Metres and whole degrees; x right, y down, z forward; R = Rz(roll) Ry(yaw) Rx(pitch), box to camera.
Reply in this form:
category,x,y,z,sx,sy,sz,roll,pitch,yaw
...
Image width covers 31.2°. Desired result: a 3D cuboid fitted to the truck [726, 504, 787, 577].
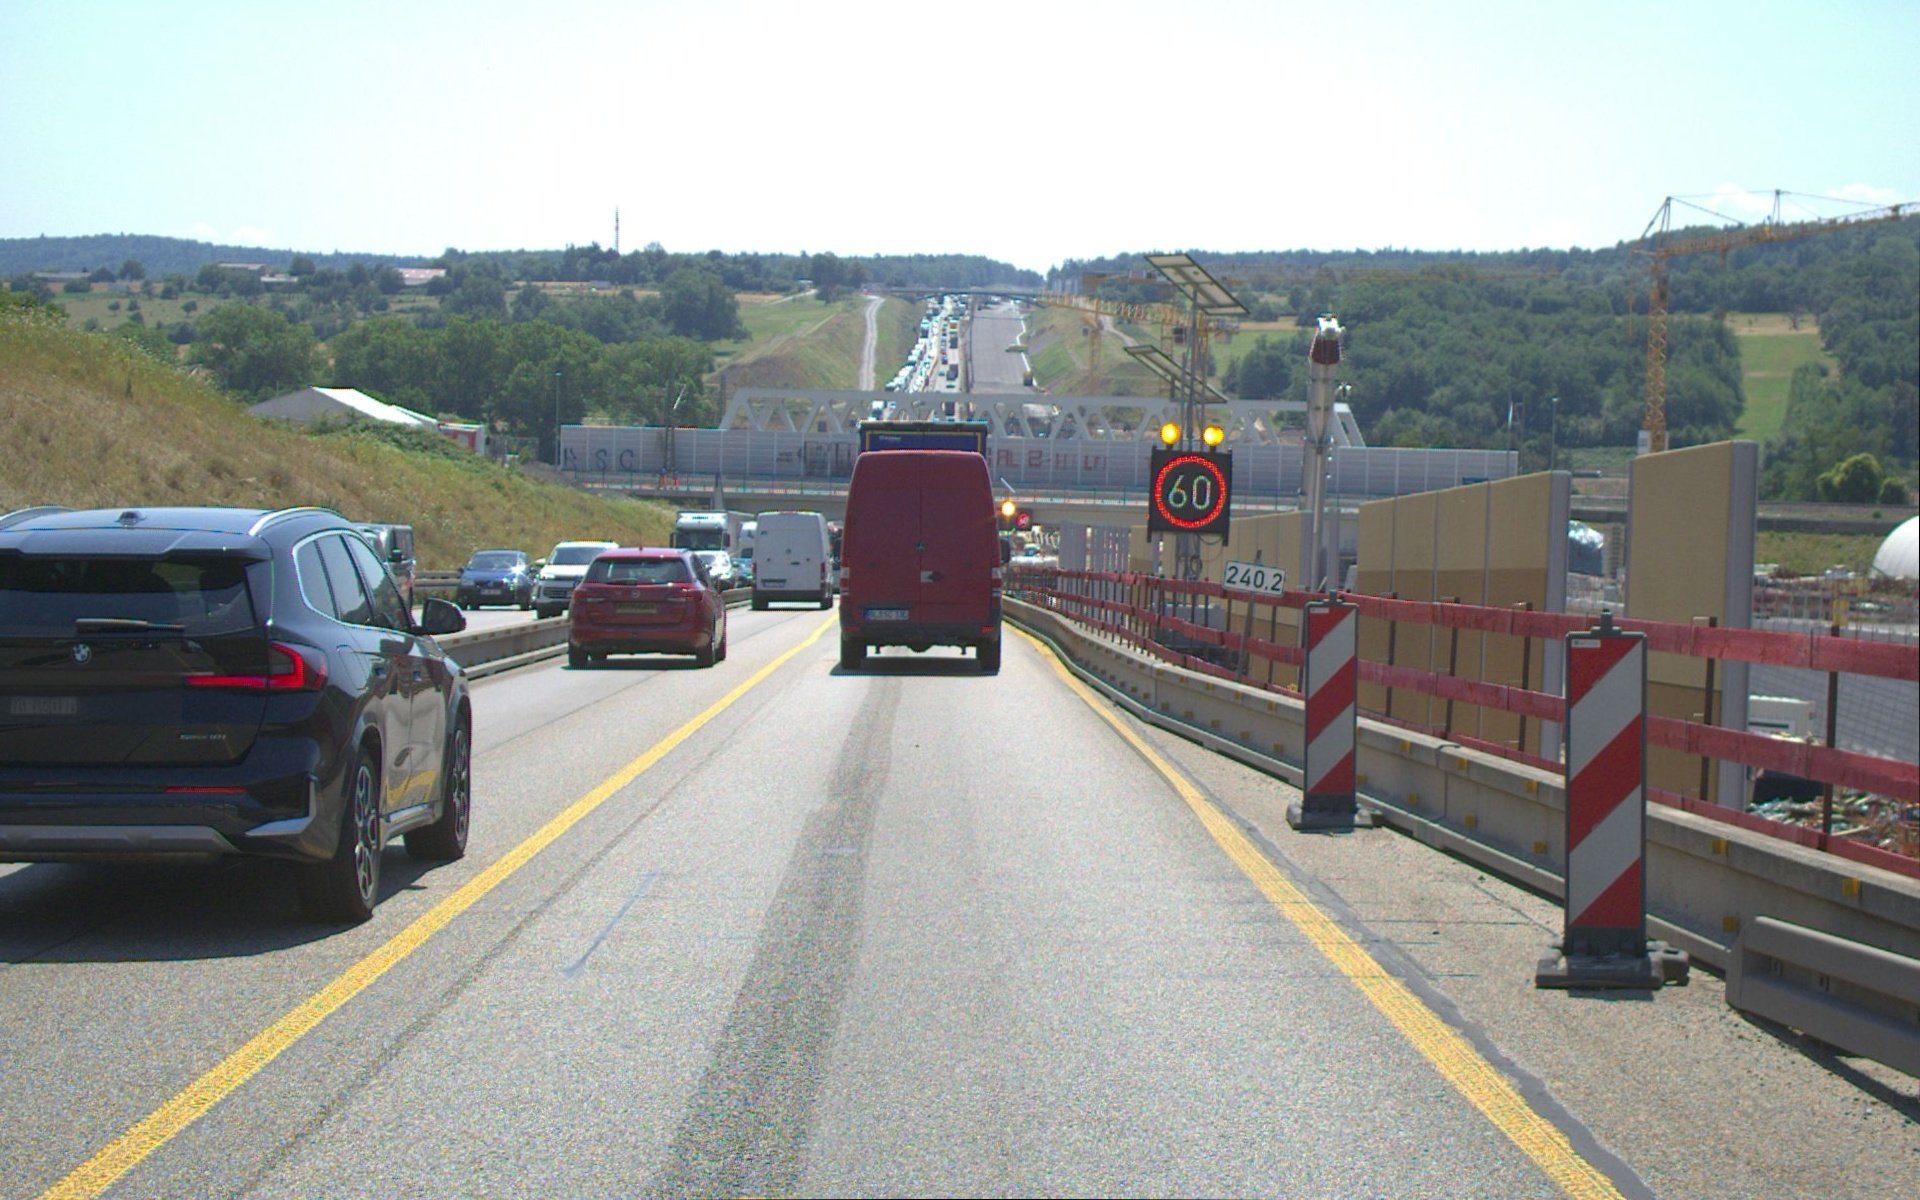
category,x,y,z,sx,sy,sz,roll,pitch,yaw
truck,-9.591,-2.808,162.929,2.538,3.362,7.038,1,1,-1

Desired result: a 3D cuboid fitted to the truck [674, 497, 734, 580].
category,x,y,z,sx,sy,sz,roll,pitch,yaw
truck,-12.685,-3.064,170.840,2.698,4.036,3.955,1,1,-1

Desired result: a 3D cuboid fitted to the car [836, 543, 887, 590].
category,x,y,z,sx,sy,sz,roll,pitch,yaw
car,-3.570,-1.216,124.639,1.776,1.664,4.029,0,1,-1

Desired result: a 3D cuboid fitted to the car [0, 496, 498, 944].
category,x,y,z,sx,sy,sz,roll,pitch,yaw
car,-3.184,0.398,14.624,1.879,1.612,4.499,0,1,-1

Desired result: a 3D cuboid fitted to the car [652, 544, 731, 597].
category,x,y,z,sx,sy,sz,roll,pitch,yaw
car,-7.856,-0.876,100.963,1.955,1.494,5.090,1,1,-1

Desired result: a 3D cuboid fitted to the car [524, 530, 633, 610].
category,x,y,z,sx,sy,sz,roll,pitch,yaw
car,-8.117,-0.675,73.547,1.839,1.648,5.372,0,1,-1

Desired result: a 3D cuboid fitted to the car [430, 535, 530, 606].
category,x,y,z,sx,sy,sz,roll,pitch,yaw
car,-11.312,-0.712,81.323,1.684,1.580,5.127,1,1,-1

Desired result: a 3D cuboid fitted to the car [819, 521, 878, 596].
category,x,y,z,sx,sy,sz,roll,pitch,yaw
car,-3.535,-1.328,109.259,1.776,2.322,4.206,0,1,-1

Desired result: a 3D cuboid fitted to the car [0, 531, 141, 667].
category,x,y,z,sx,sy,sz,roll,pitch,yaw
car,-11.147,-0.052,40.337,1.993,1.502,4.719,1,1,-1

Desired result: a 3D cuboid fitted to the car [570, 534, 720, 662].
category,x,y,z,sx,sy,sz,roll,pitch,yaw
car,-3.916,-0.054,42.960,1.775,1.512,4.207,0,1,-5

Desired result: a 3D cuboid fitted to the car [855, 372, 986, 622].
category,x,y,z,sx,sy,sz,roll,pitch,yaw
car,-0.862,-2.148,74.162,2.621,5.015,10.397,0,1,-1

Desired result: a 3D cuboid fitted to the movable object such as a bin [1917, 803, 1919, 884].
category,x,y,z,sx,sy,sz,roll,pitch,yaw
movable object such as a bin,19.463,4.190,62.744,2.608,2.481,4.454,2,1,-1

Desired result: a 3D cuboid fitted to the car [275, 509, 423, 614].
category,x,y,z,sx,sy,sz,roll,pitch,yaw
car,-11.613,-0.757,65.657,2.038,1.919,5.122,0,1,-1

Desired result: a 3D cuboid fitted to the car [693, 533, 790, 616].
category,x,y,z,sx,sy,sz,roll,pitch,yaw
car,-4.489,-0.551,71.171,1.839,1.648,4.165,0,1,-1

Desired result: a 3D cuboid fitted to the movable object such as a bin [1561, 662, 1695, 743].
category,x,y,z,sx,sy,sz,roll,pitch,yaw
movable object such as a bin,23.774,3.604,122.769,3.163,2.437,7.895,3,0,0

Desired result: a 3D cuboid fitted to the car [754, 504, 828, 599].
category,x,y,z,sx,sy,sz,roll,pitch,yaw
car,-4.406,-1.267,90.005,1.776,2.433,4.206,0,1,-1

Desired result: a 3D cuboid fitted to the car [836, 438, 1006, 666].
category,x,y,z,sx,sy,sz,roll,pitch,yaw
car,-0.485,-0.597,42.727,1.988,2.681,4.624,0,1,-1

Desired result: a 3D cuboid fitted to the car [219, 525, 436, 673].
category,x,y,z,sx,sy,sz,roll,pitch,yaw
car,-7.485,-0.039,41.035,1.832,1.660,4.415,0,1,-1

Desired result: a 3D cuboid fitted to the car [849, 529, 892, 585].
category,x,y,z,sx,sy,sz,roll,pitch,yaw
car,-3.775,-1.842,145.631,1.776,2.322,4.206,0,1,-1

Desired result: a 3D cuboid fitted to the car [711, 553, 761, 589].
category,x,y,z,sx,sy,sz,roll,pitch,yaw
car,-9.001,-1.182,138.430,1.797,1.422,4.950,0,1,-1
